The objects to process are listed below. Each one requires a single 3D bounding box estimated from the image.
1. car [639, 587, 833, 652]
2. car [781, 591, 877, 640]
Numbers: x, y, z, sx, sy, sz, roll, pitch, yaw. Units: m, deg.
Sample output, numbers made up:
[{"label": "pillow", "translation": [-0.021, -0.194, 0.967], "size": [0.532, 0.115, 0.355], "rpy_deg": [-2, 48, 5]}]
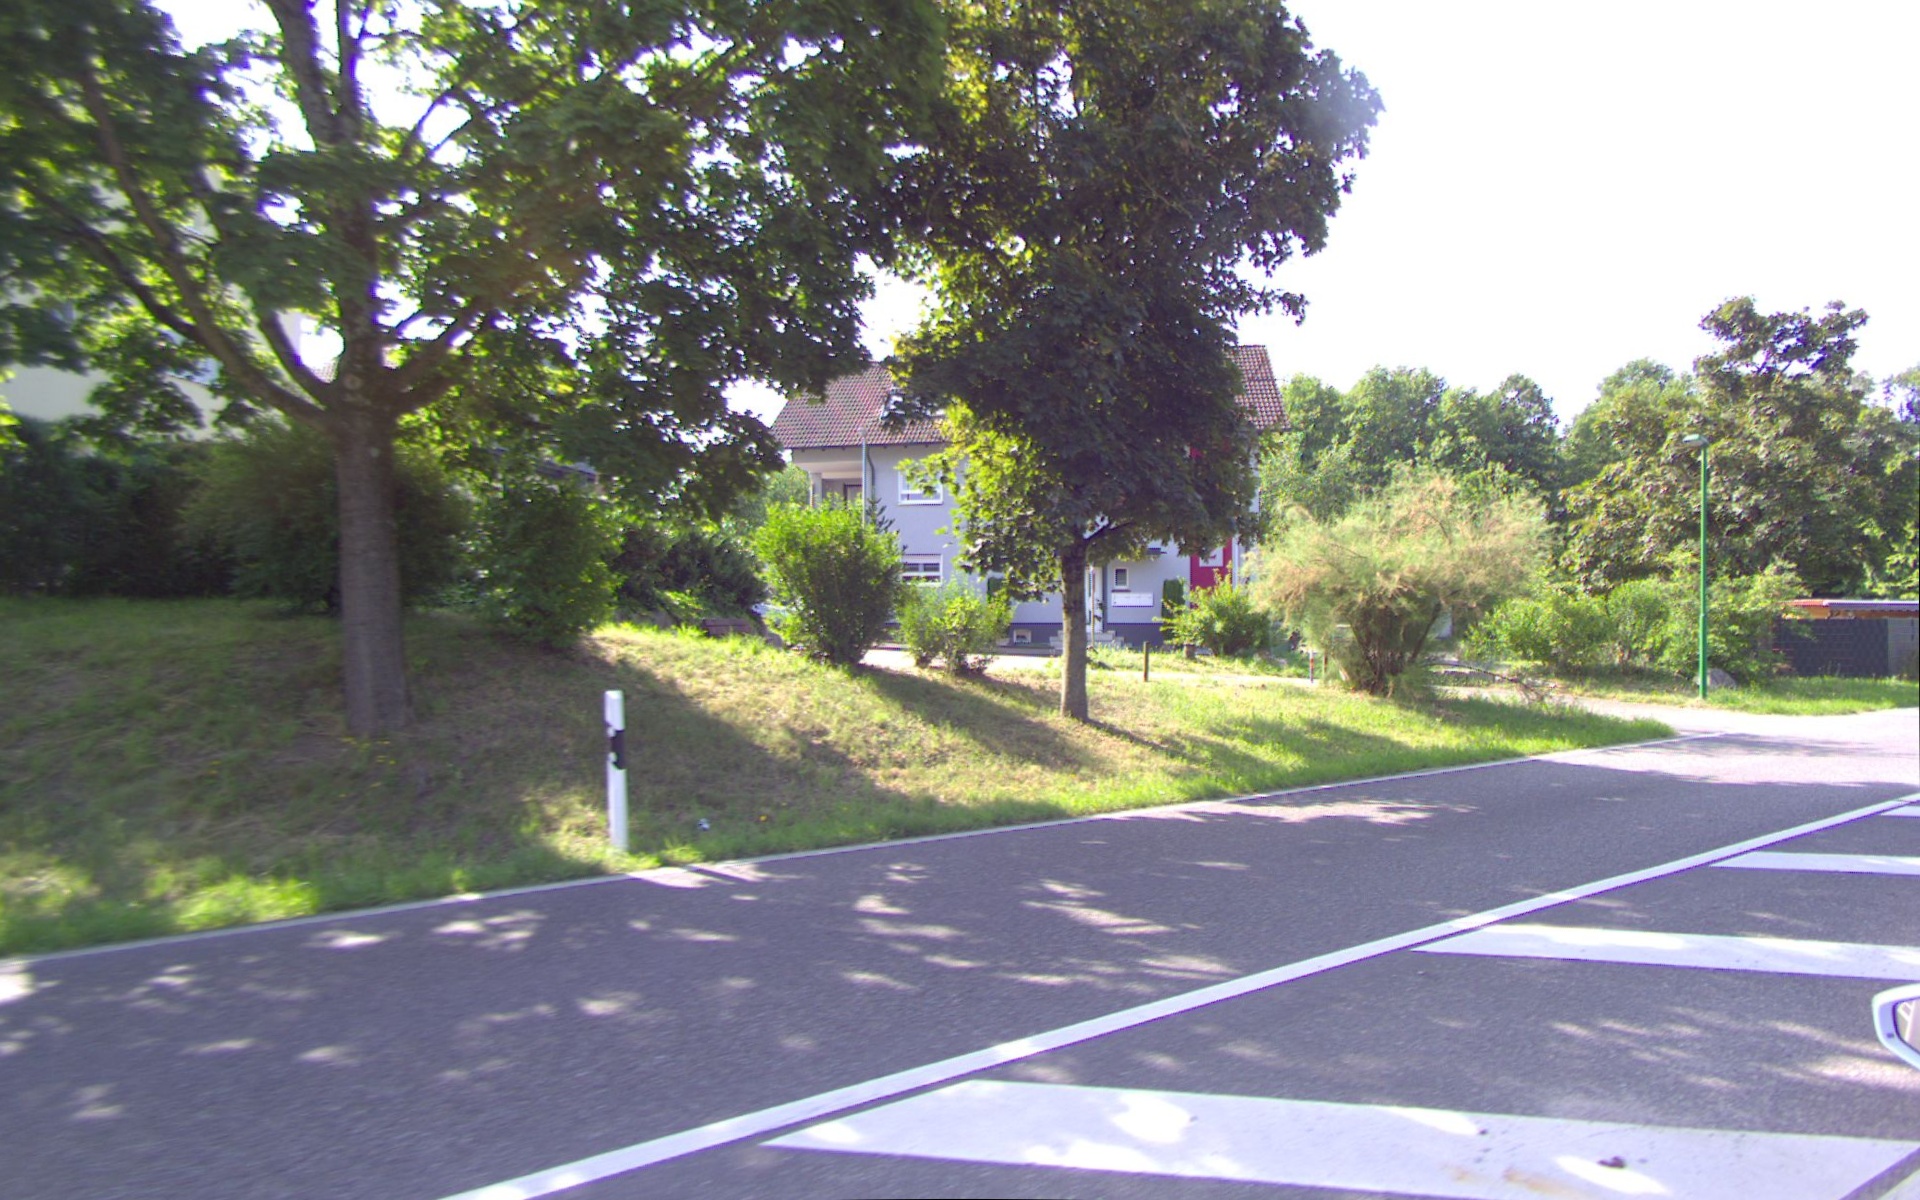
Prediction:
[{"label": "car", "translation": [-5.319, 0.449, 24.164], "size": [4.148, 1.482, 1.870], "rpy_deg": [0, 0, 8]}, {"label": "car", "translation": [-4.167, 0.497, 32.560], "size": [1.713, 1.482, 3.773], "rpy_deg": [0, -1, 16]}]
